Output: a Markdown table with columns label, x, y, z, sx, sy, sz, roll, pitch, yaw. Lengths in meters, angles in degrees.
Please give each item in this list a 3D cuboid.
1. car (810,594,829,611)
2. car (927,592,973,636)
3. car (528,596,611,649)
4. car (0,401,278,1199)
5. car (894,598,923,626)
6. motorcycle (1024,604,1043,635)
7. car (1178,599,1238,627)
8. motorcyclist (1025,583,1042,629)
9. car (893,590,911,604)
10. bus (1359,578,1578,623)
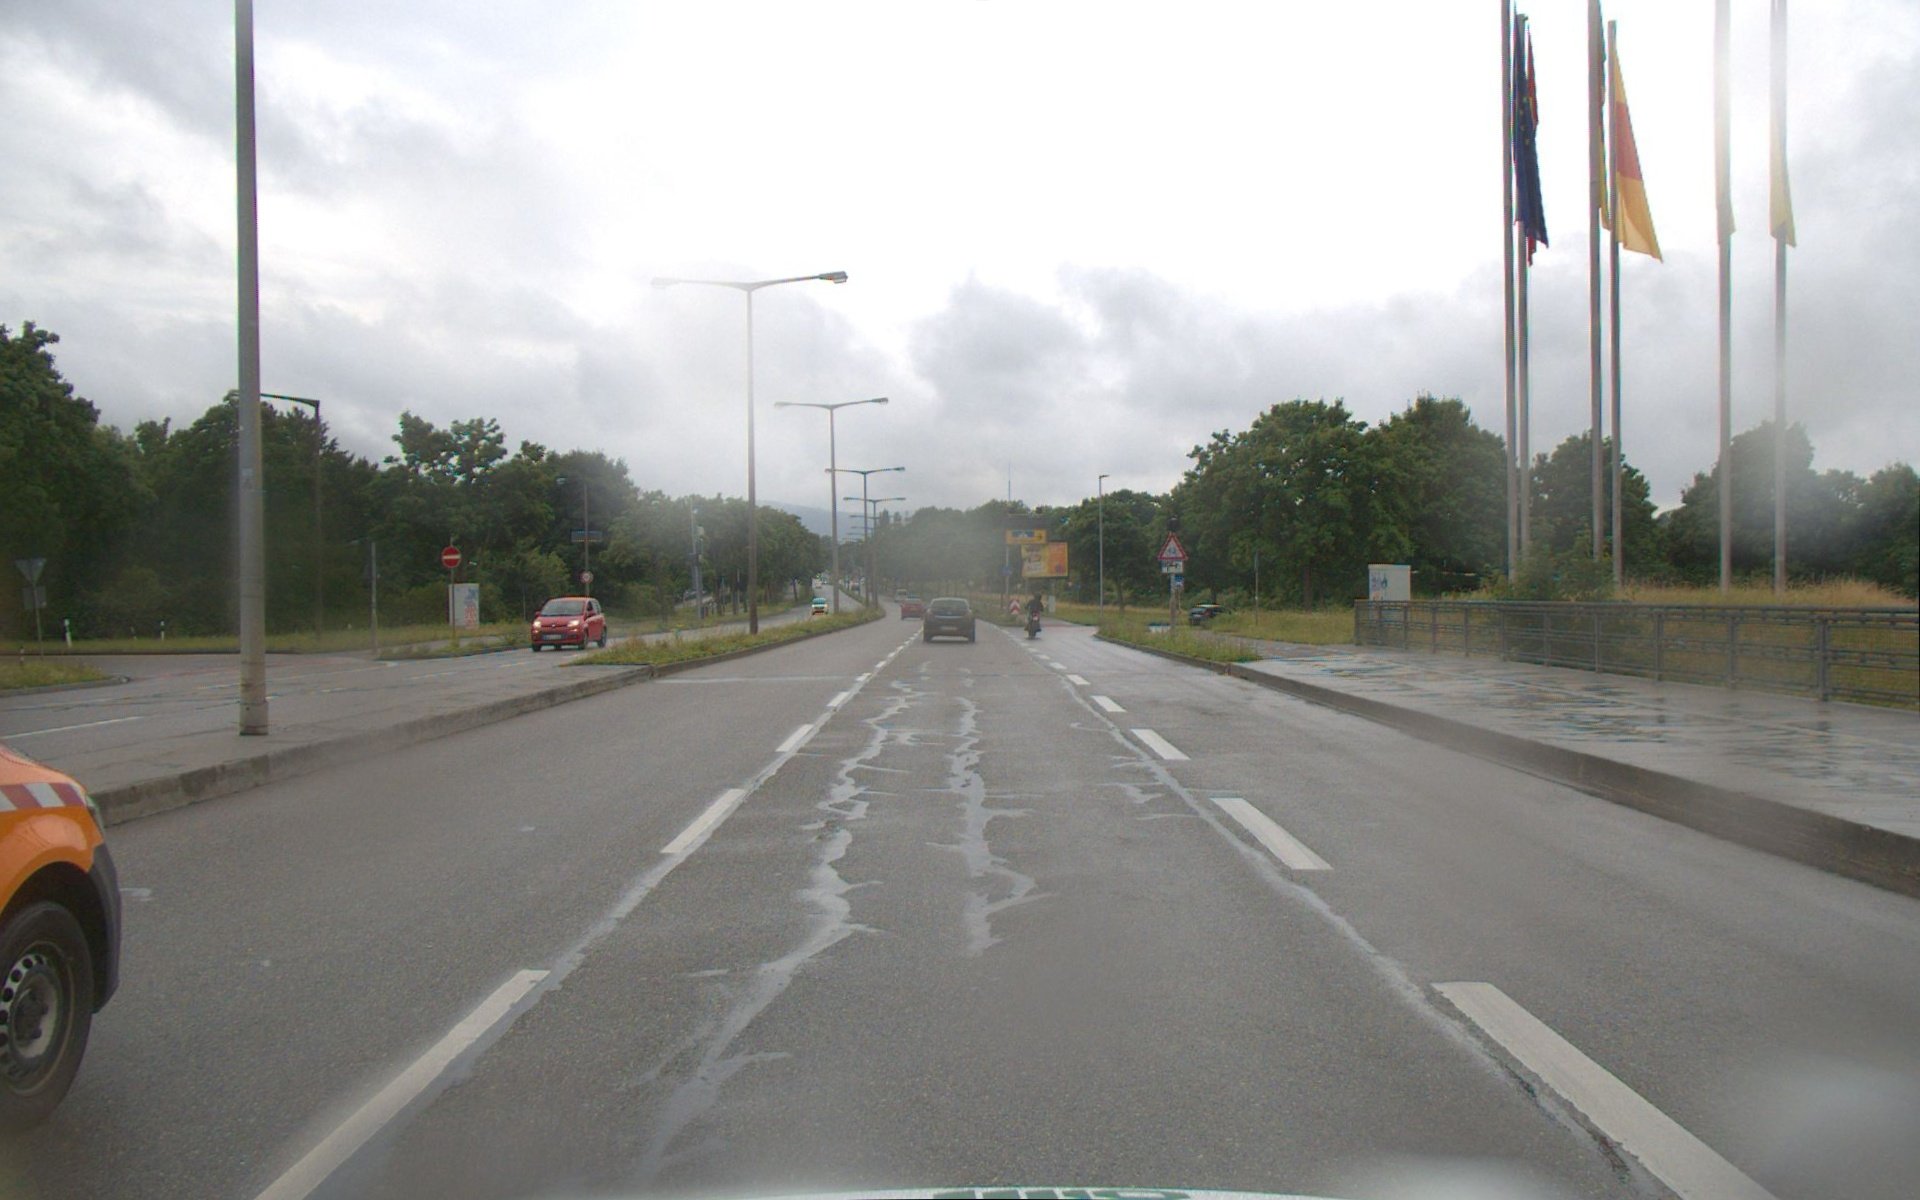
| label | x | y | z | sx | sy | sz | roll | pitch | yaw |
| --- | --- | --- | --- | --- | --- | --- | --- | --- | --- |
| car | -14.771 | 0.253 | 174.638 | 1.673 | 1.658 | 4.490 | -3 | 0 | -2 |
| car | -0.365 | 0.441 | 54.237 | 1.433 | 1.352 | 3.757 | 0 | 1 | -2 |
| car | -11.764 | 0.659 | 50.024 | 1.627 | 1.473 | 3.556 | -3 | 0 | -1 |
| car | -3.239 | 0.509 | 3.347 | 1.699 | 2.054 | 4.848 | 1 | -1 | -1 |
| car | -3.541 | 0.795 | 114.873 | 1.953 | 1.912 | 3.999 | 0 | 0 | -1 |
| motorcycle | 2.798 | 0.735 | 62.942 | 0.589 | 1.112 | 1.731 | 0 | 1 | -2 |
| car | 15.050 | 0.784 | 100.349 | 1.825 | 1.646 | 3.980 | 1 | 0 | 39 |
| motorcyclist | 2.790 | 0.235 | 62.920 | 0.589 | 1.719 | 0.860 | 0 | 0 | -2 |
| car | -9.045 | -0.448 | 256.407 | 2.467 | 2.088 | 5.288 | -1 | 0 | -5 |
| bus | 33.520 | 0.053 | 109.060 | 14.285 | 2.726 | 2.755 | 1 | 0 | -12 |
